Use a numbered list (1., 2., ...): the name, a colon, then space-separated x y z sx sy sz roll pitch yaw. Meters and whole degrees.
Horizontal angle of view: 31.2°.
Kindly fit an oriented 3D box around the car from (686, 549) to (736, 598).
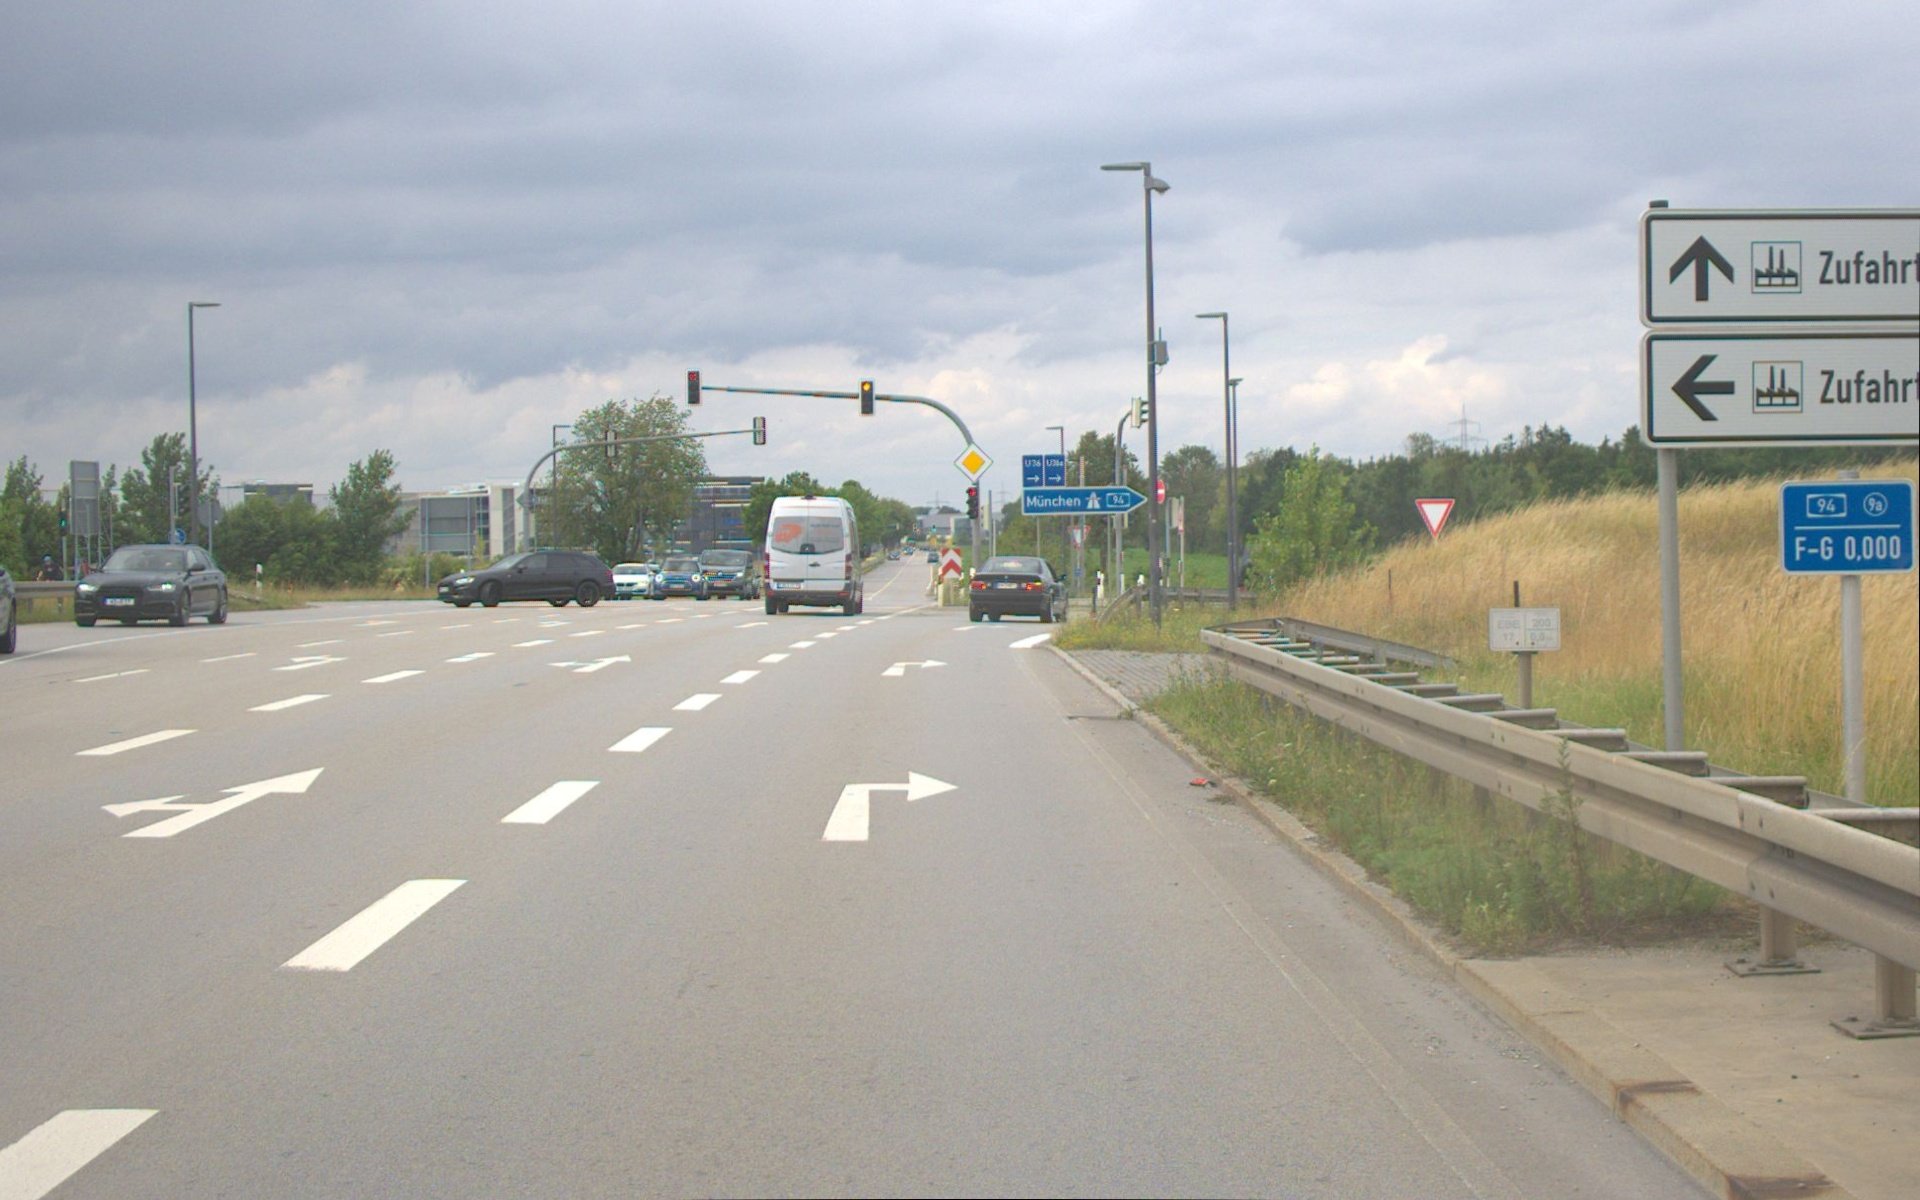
1. car: -9.656 -1.044 133.608 1.638 1.846 3.749 0 1 1

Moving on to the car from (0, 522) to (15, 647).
1. car: -12.693 -0.201 42.573 1.582 1.552 4.147 0 1 -11

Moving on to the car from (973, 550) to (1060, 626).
1. car: 1.178 -0.265 70.100 1.518 1.480 3.615 0 1 5

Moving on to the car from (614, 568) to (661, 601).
1. car: -12.734 -0.625 135.775 1.480 1.278 3.534 0 1 1

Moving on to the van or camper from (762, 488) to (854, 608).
1. van or camper: -3.367 -1.166 76.882 1.876 2.572 4.000 1 1 0

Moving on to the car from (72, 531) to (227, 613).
1. car: -14.268 -0.494 60.750 1.808 1.364 4.786 1 0 -3

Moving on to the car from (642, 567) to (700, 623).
1. car: -9.918 -0.183 118.341 1.638 1.846 3.749 0 1 1

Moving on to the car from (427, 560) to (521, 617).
1. car: -12.662 -0.292 89.771 1.844 1.420 3.909 0 0 1
